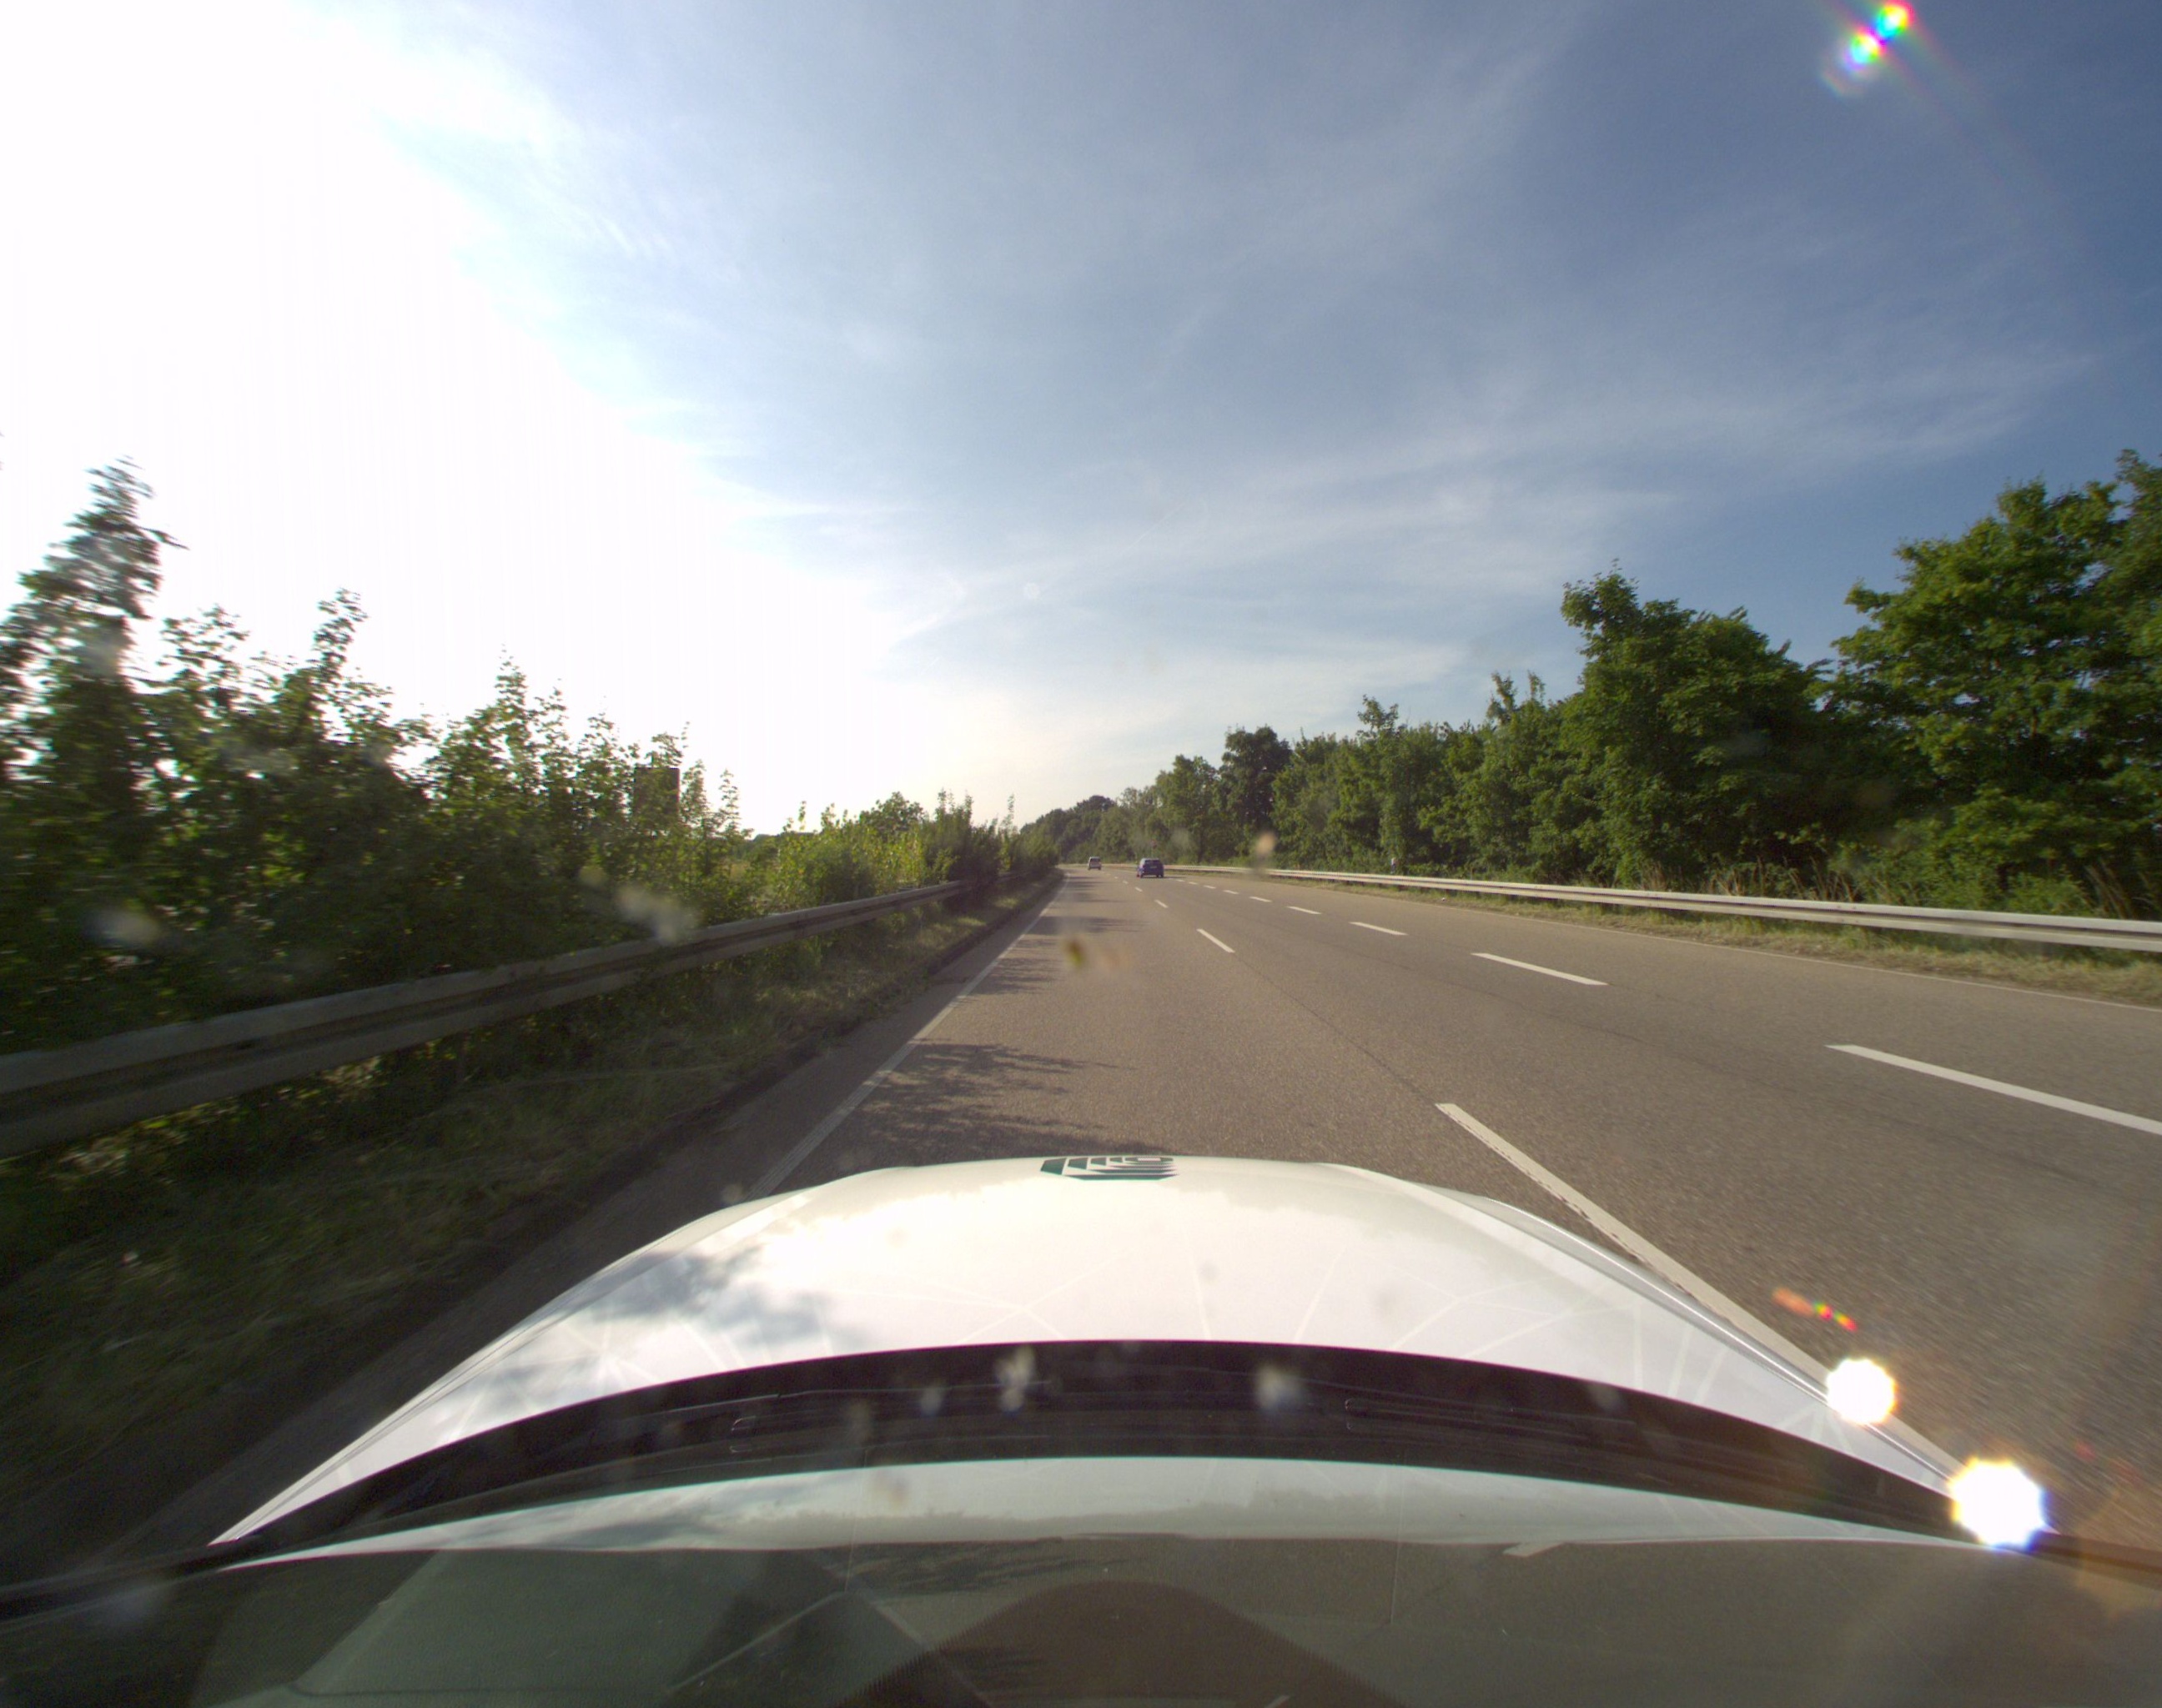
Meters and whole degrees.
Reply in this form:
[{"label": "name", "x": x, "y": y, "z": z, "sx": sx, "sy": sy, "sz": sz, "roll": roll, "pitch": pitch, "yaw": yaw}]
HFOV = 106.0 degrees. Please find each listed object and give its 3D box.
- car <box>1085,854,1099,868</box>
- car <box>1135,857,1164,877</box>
[{"label": "car", "x": 1.500, "y": 1.012, "z": 113.274, "sx": 1.761, "sy": 1.882, "sz": 3.996, "roll": -1, "pitch": 0, "yaw": -2}, {"label": "car", "x": 5.100, "y": 0.973, "z": 61.270, "sx": 1.774, "sy": 1.451, "sz": 3.997, "roll": -1, "pitch": -1, "yaw": -1}]
